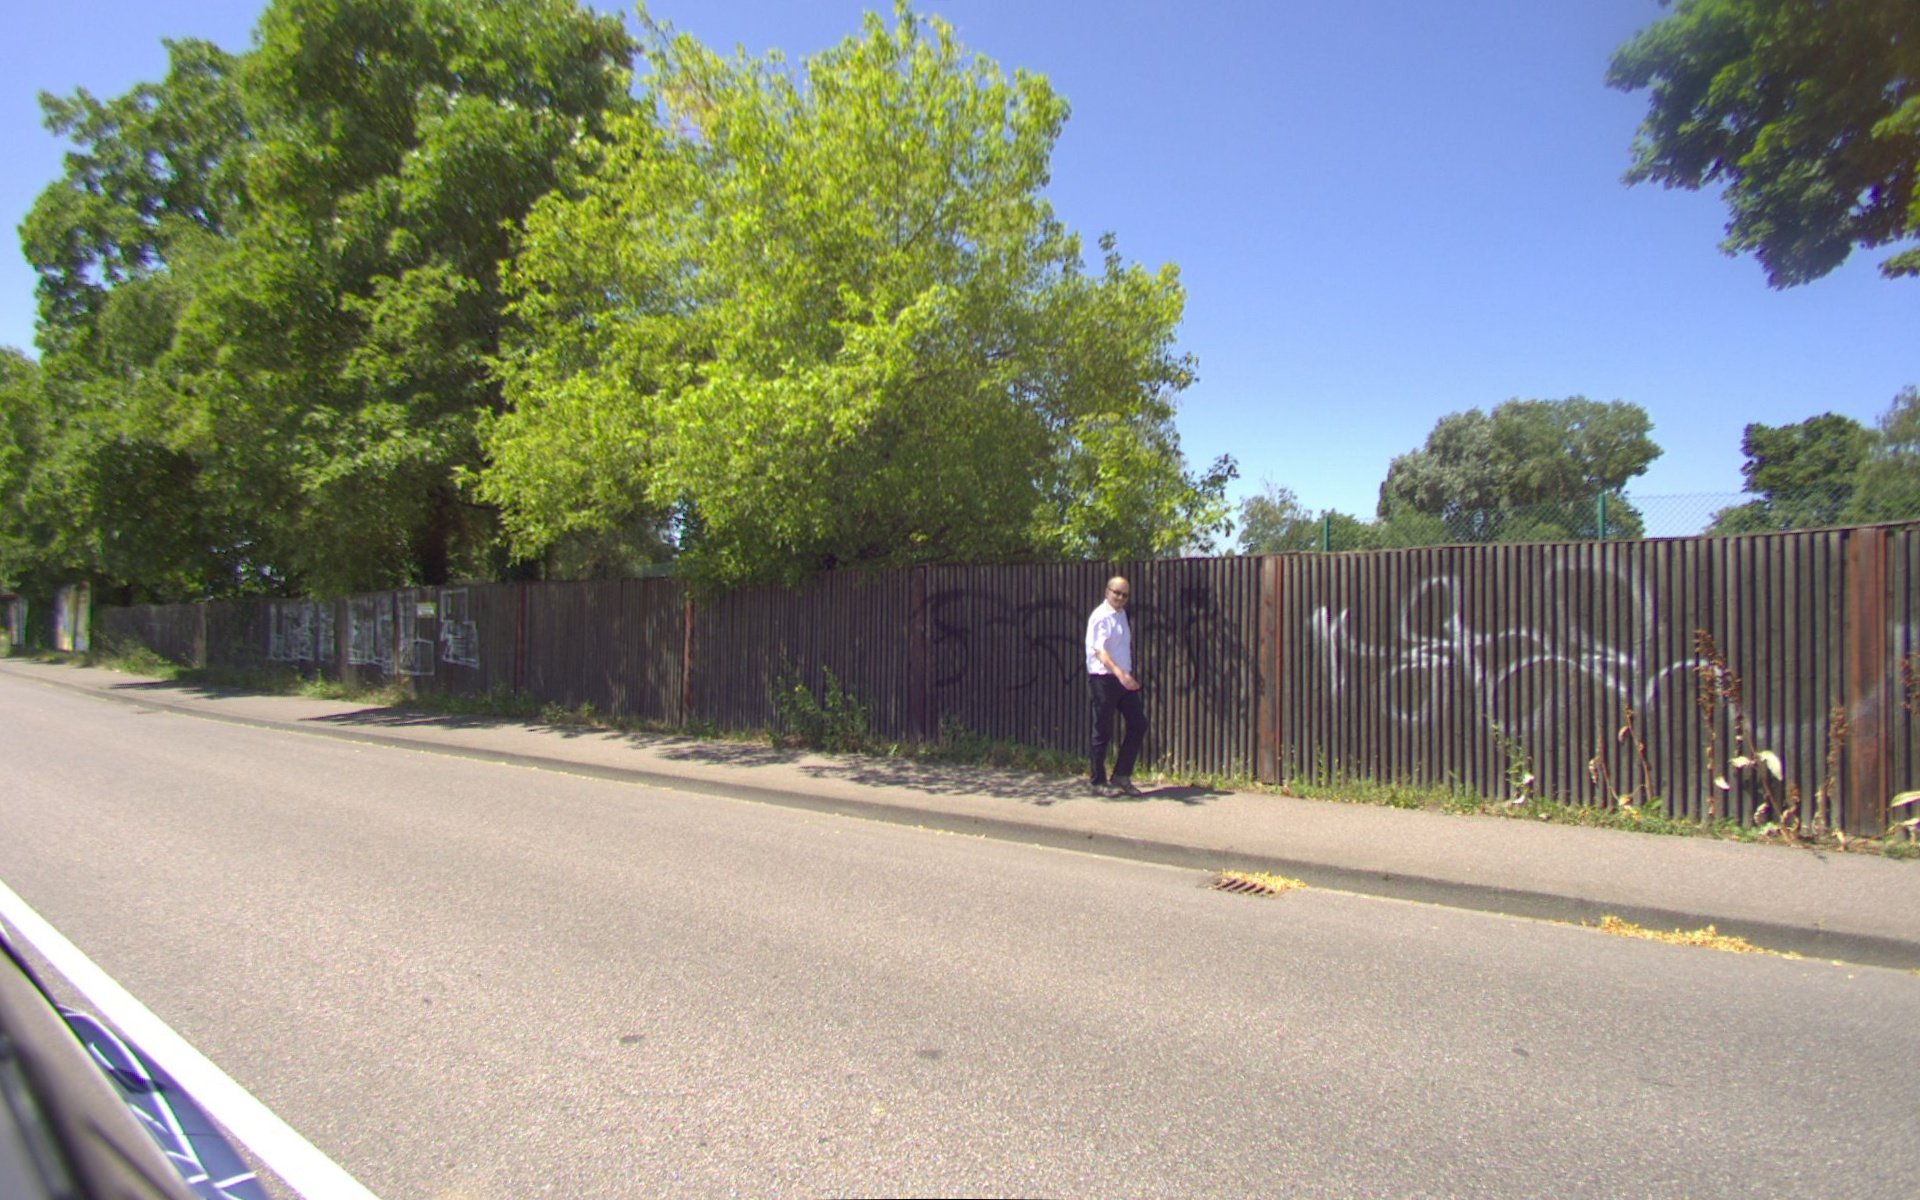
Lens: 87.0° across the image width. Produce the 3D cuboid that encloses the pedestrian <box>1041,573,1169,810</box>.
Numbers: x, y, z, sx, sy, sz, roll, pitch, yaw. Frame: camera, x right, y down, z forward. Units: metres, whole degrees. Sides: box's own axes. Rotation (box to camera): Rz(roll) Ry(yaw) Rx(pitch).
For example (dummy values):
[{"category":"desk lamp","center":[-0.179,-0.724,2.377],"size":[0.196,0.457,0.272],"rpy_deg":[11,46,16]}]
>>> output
[{"category":"pedestrian","center":[1.196,0.717,8.363],"size":[0.850,1.838,0.586],"rpy_deg":[-1,-1,41]}]
